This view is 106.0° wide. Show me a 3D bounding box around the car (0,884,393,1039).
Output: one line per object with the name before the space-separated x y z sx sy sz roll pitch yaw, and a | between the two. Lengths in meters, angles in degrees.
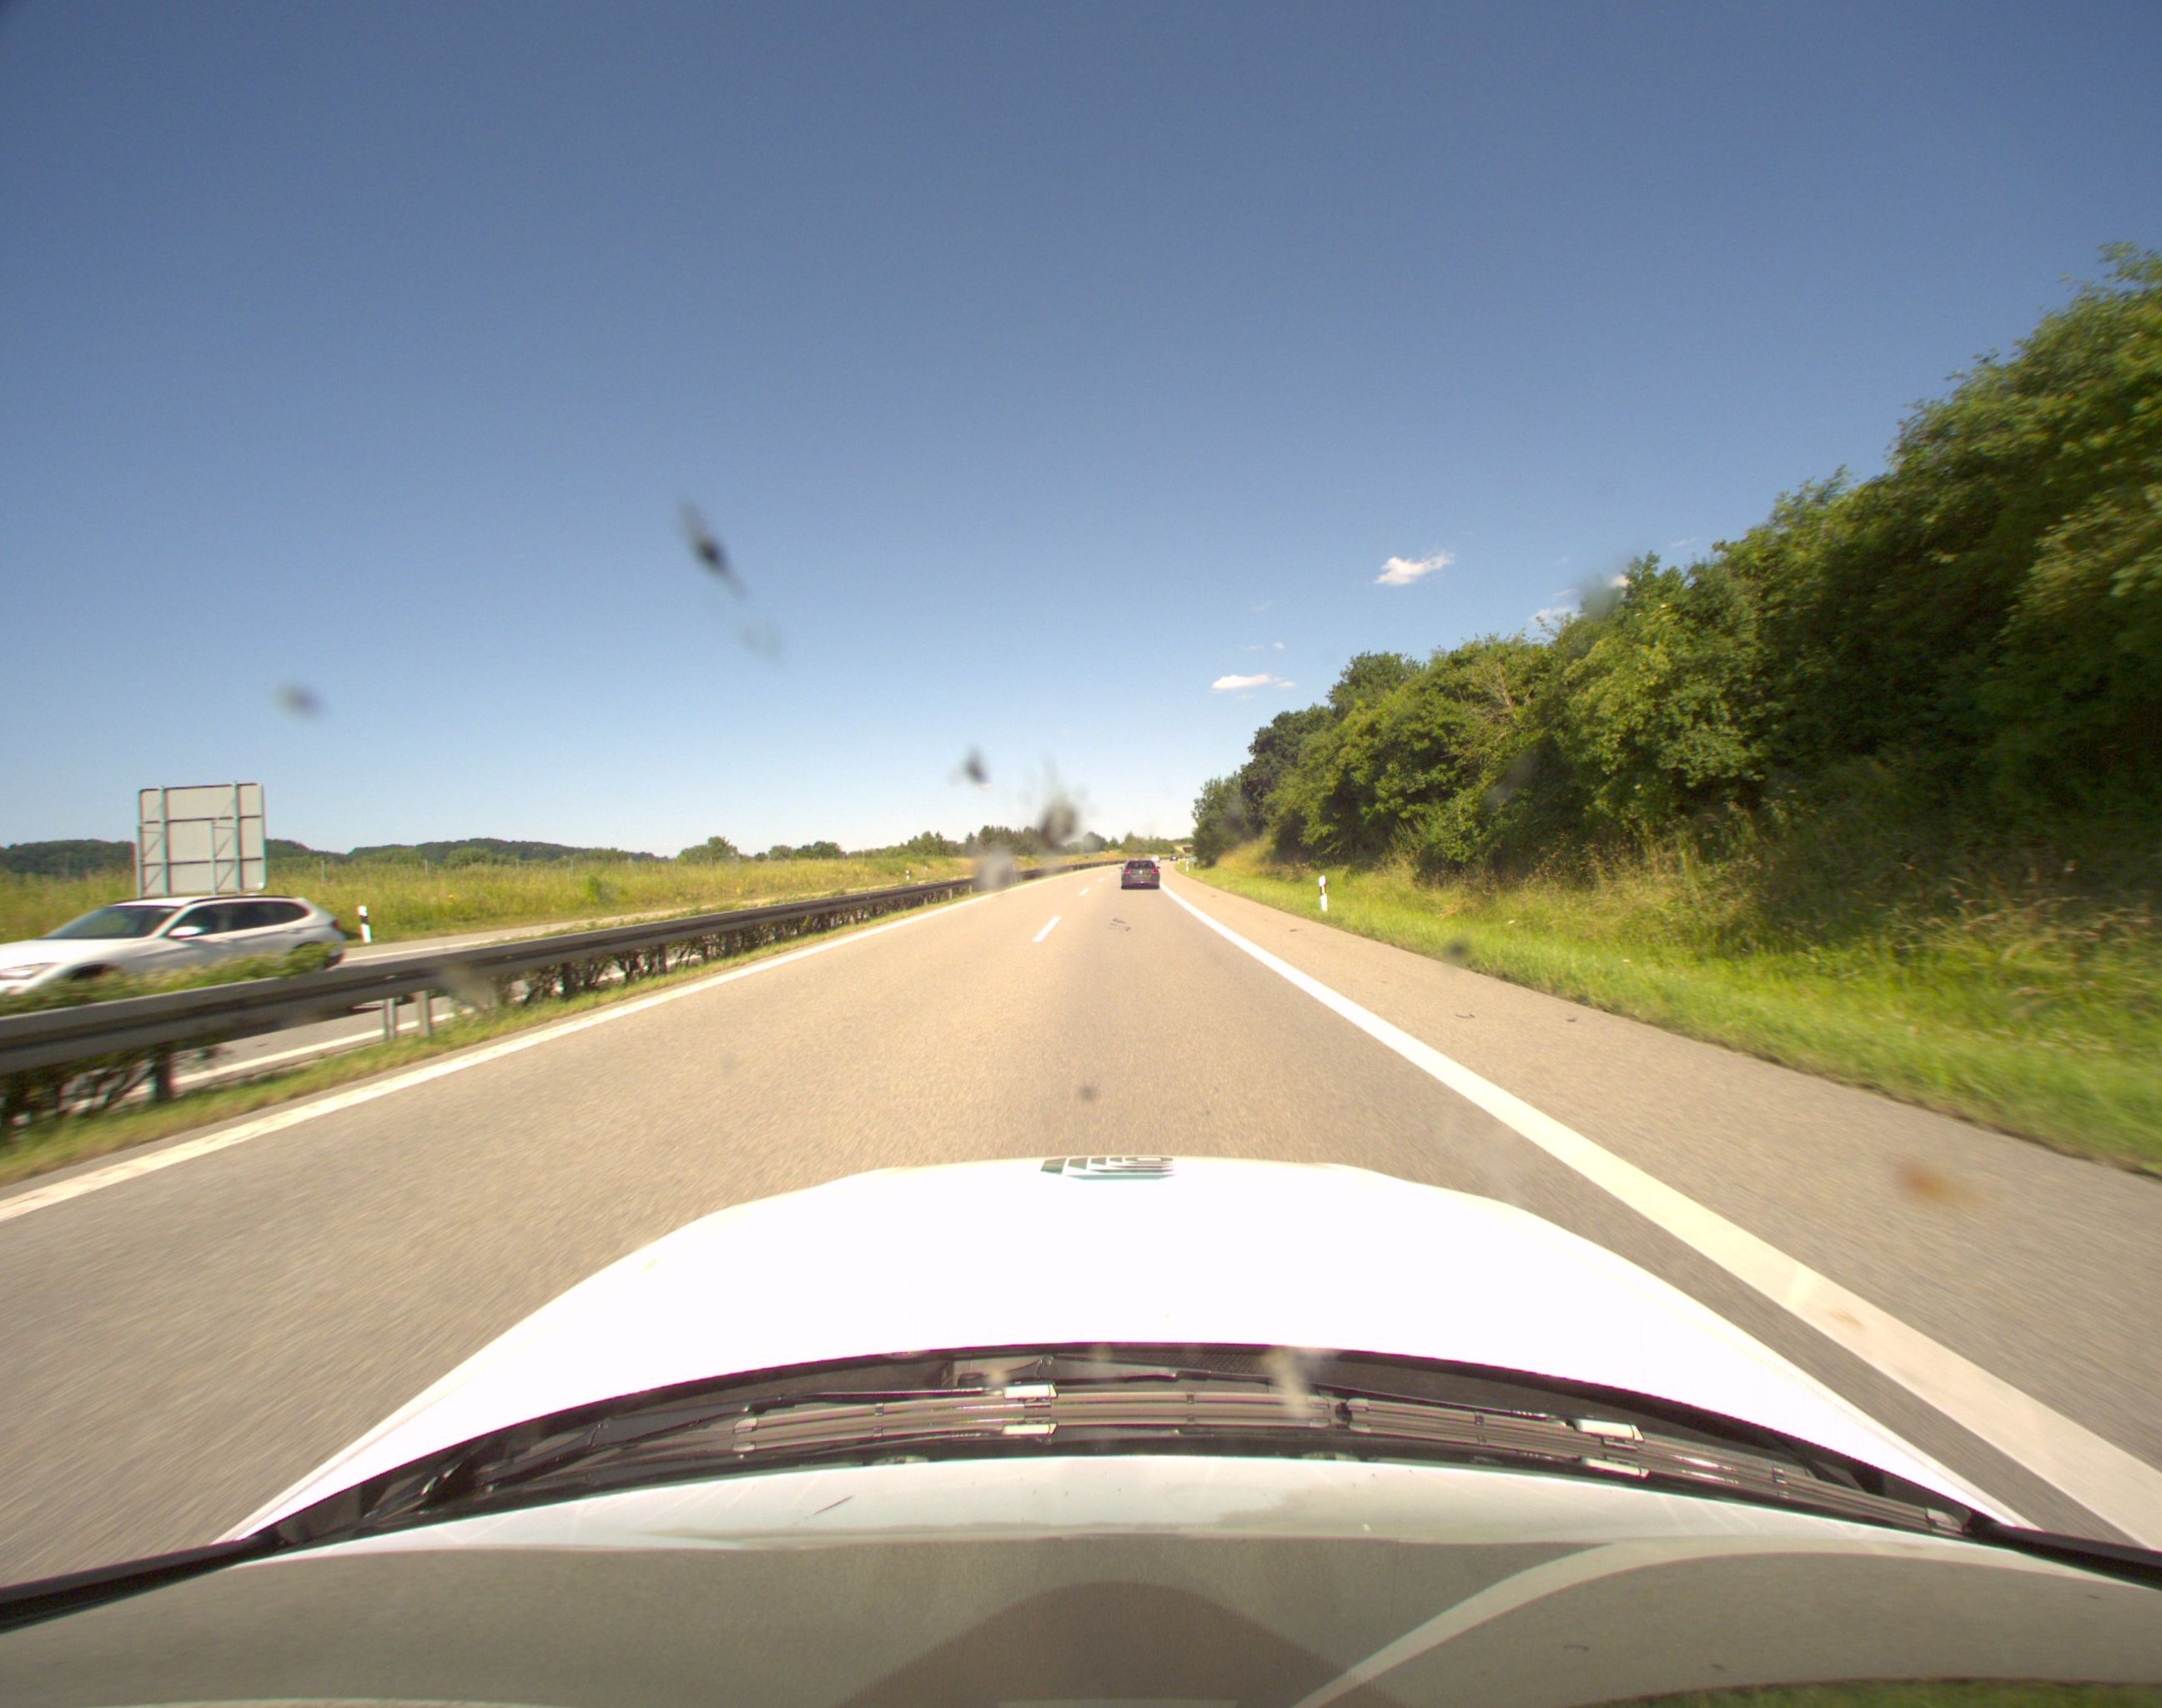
car | -13.416 1.432 12.185 1.759 1.623 5.010 -5 0 2

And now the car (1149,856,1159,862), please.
car | 16.223 1.098 180.799 1.996 1.345 4.007 0 -1 7

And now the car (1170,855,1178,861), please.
car | 23.232 1.094 204.062 1.700 1.387 3.364 0 -1 10

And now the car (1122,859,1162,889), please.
car | 2.879 0.953 38.705 1.783 1.344 4.004 0 -1 4
